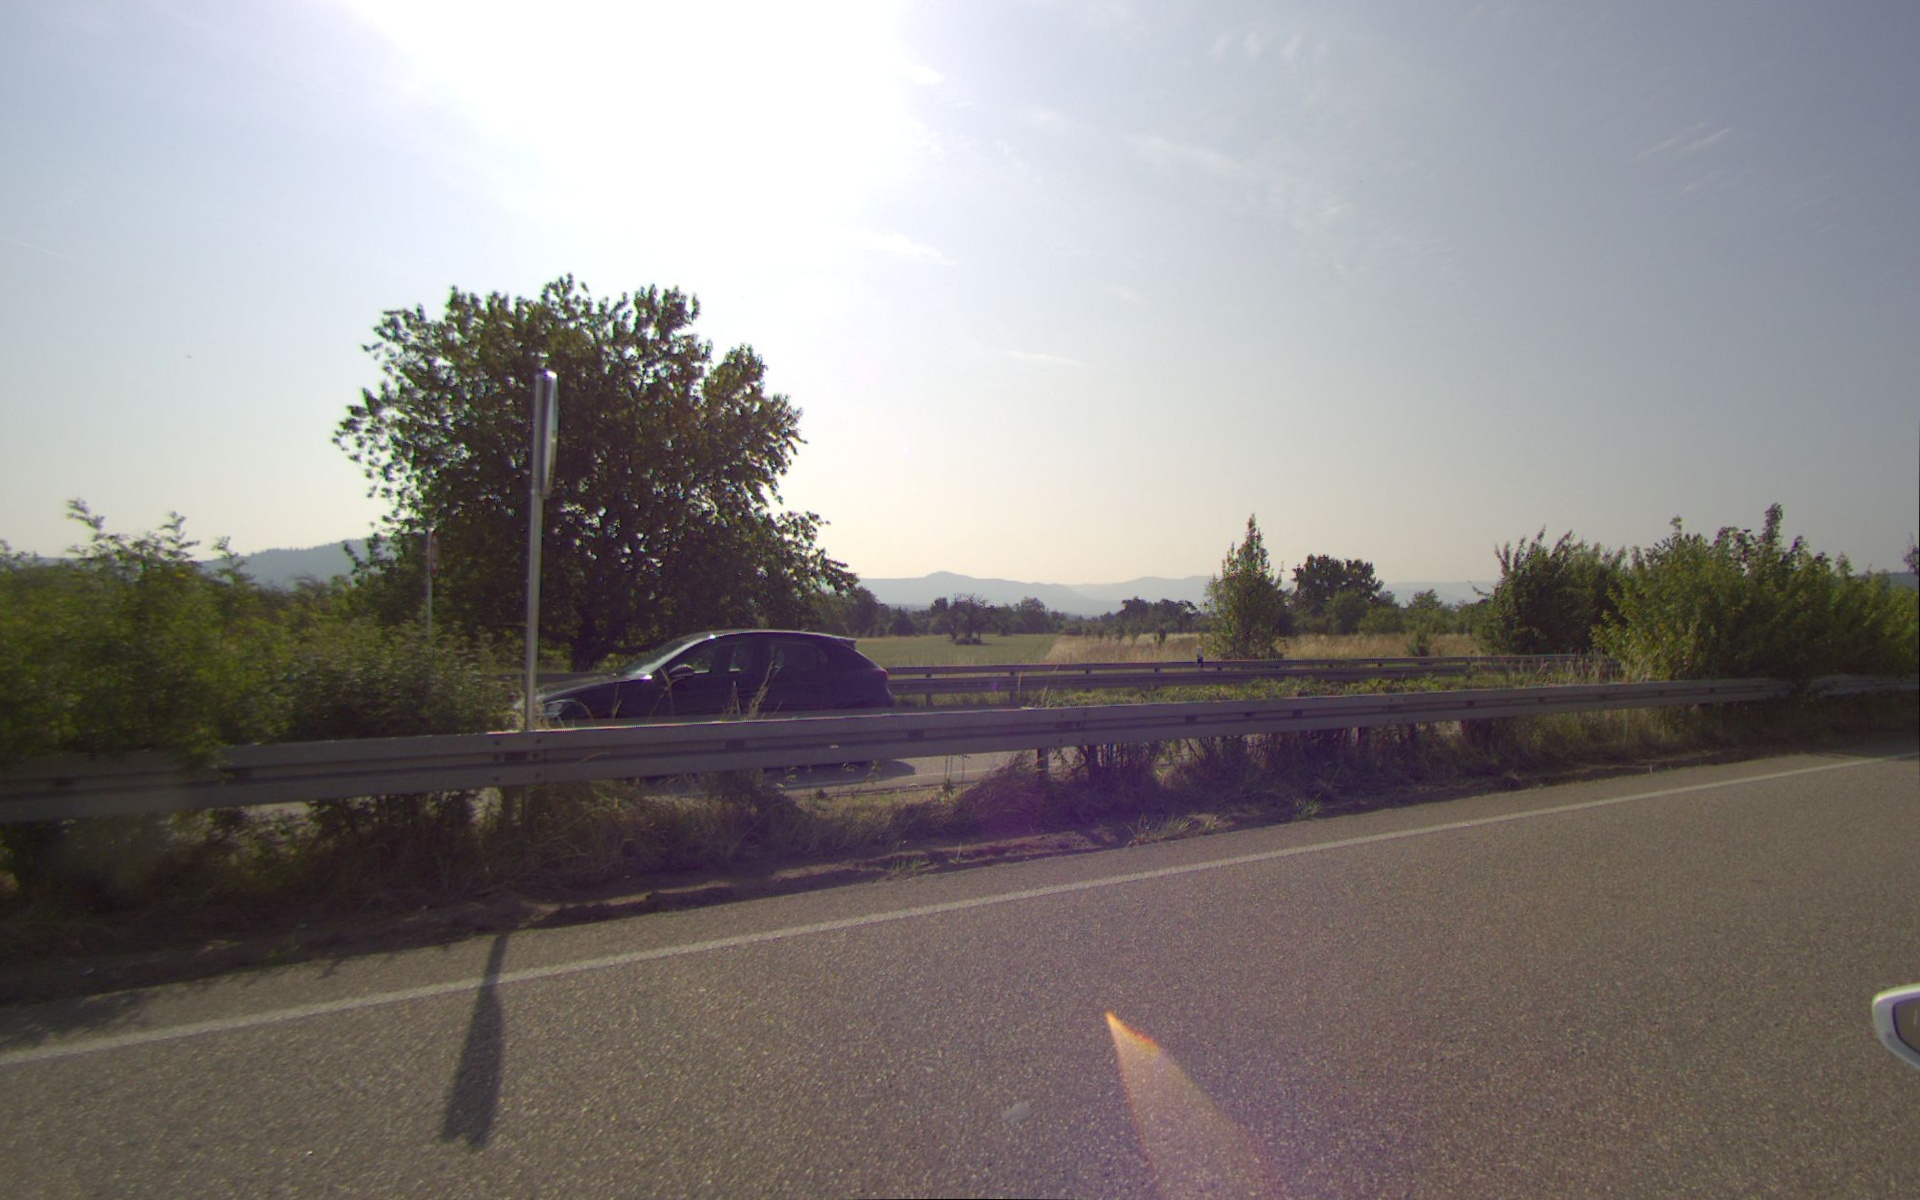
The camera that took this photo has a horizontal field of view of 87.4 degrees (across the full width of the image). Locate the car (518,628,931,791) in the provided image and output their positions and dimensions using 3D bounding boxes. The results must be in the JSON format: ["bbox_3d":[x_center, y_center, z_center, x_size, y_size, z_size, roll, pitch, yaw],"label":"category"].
[{"bbox_3d":[-2.409,1.030,10.610,3.989,1.450,1.550,1,-2,-31],"label":"car"}]
